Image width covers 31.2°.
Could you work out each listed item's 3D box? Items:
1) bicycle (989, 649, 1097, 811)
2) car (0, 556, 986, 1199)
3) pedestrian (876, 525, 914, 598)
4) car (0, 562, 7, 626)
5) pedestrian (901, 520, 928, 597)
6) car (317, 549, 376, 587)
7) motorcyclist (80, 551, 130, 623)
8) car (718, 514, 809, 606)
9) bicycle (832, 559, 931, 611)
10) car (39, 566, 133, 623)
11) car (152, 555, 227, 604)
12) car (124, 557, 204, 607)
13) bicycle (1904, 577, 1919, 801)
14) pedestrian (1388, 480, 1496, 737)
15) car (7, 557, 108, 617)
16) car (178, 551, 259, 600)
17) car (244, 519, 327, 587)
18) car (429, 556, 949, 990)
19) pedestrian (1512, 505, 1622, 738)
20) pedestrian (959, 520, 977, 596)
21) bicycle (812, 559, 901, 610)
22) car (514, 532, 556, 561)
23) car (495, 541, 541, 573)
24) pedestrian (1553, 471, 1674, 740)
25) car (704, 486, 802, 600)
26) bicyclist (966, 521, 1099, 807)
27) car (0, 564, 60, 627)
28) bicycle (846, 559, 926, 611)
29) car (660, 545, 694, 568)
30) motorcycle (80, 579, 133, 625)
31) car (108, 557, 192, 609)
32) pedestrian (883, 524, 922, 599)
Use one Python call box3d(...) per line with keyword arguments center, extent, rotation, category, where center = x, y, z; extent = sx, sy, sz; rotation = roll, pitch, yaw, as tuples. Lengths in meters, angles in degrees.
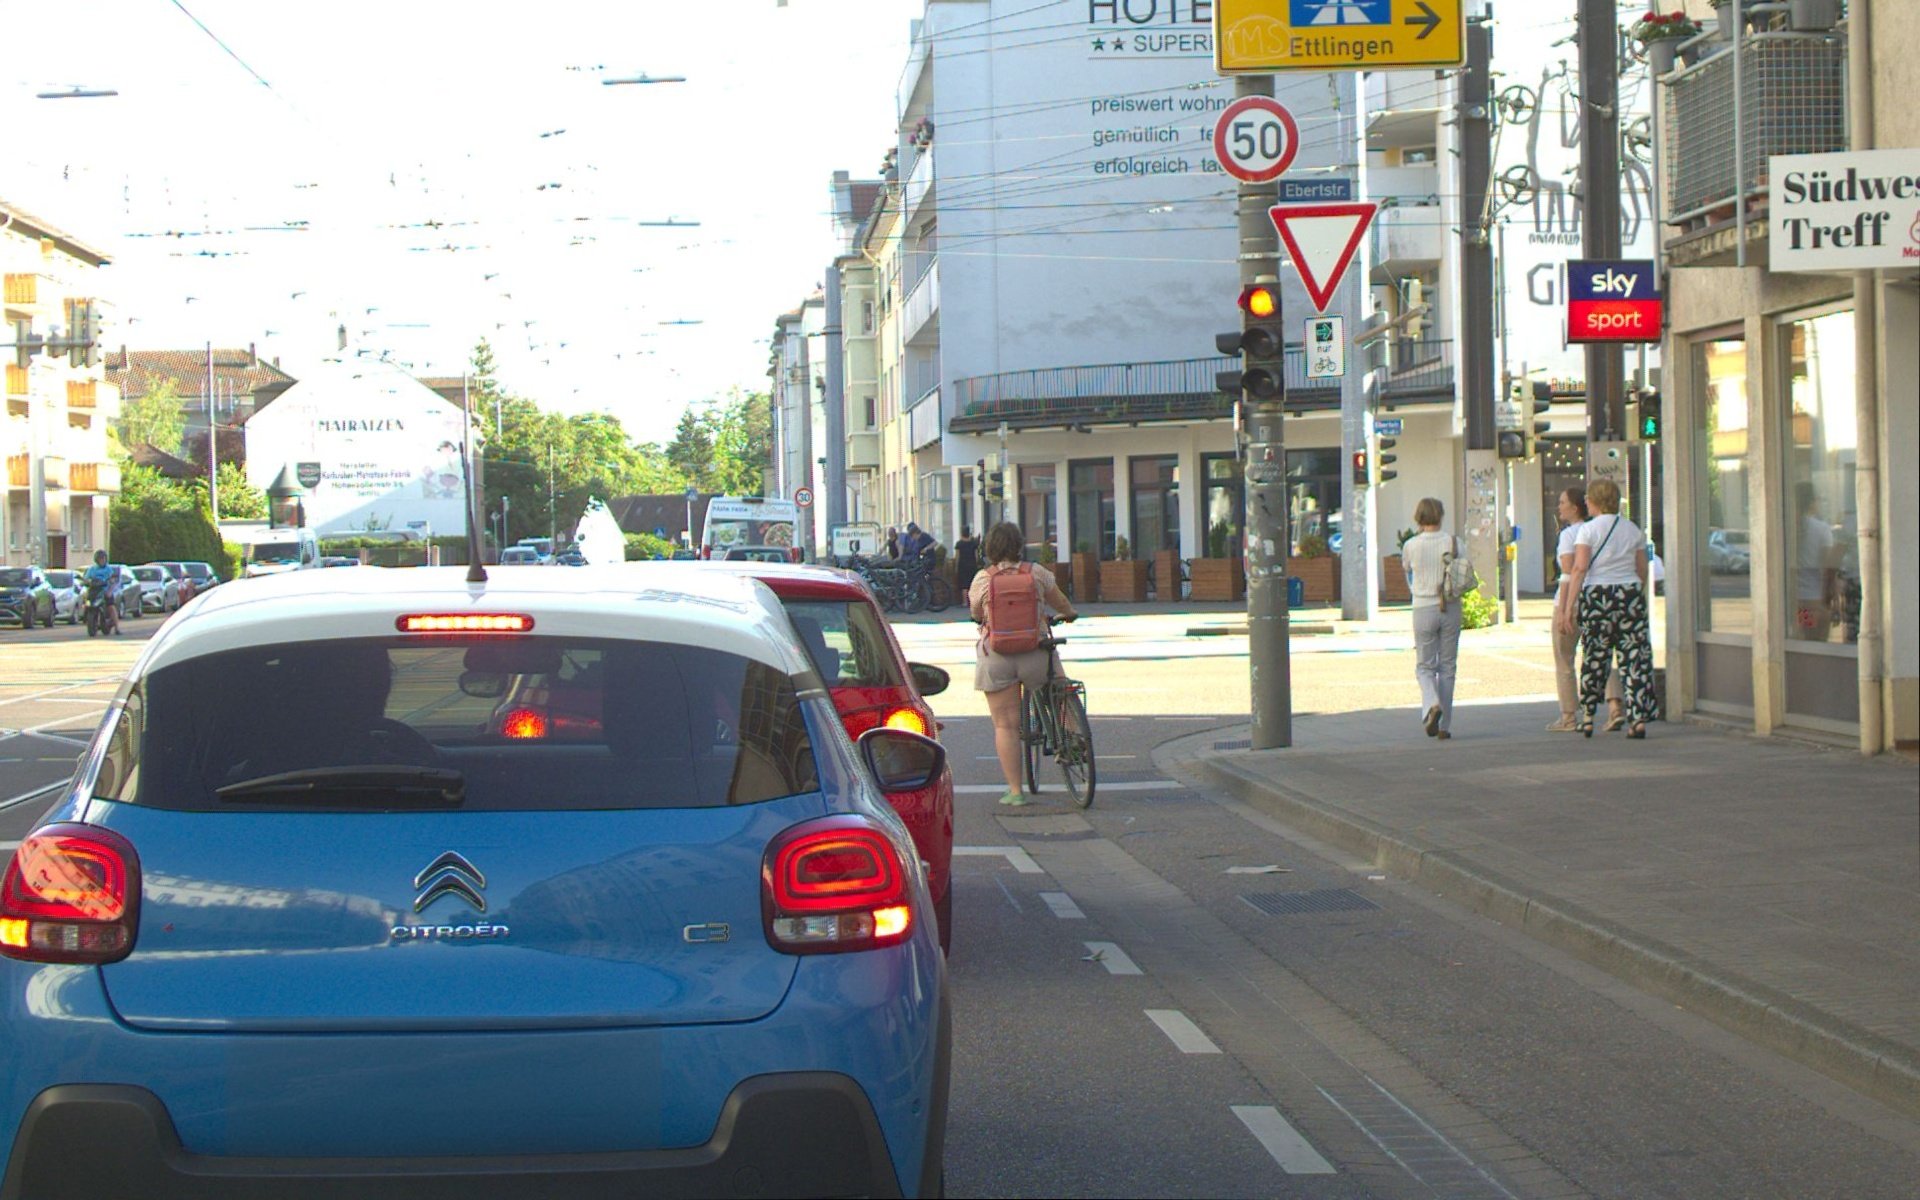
box3d(center=(0.483, 0.757, 20.608), extent=(0.498, 0.861, 1.749), rotation=(-1, 1, -3), category="bicycle")
box3d(center=(-1.053, 0.646, 7.432), extent=(1.743, 1.457, 4.001), rotation=(0, 1, -7), category="car")
box3d(center=(-1.412, -0.831, 74.311), extent=(0.646, 1.550, 0.493), rotation=(-2, 1, -22), category="pedestrian")
box3d(center=(-23.346, -0.094, 79.191), extent=(1.910, 1.492, 4.001), rotation=(-1, 1, -5), category="car")
box3d(center=(-0.920, -0.843, 69.665), extent=(0.491, 1.550, 0.384), rotation=(-1, 1, -3), category="pedestrian")
box3d(center=(-25.771, -1.348, 144.501), extent=(2.021, 1.520, 4.001), rotation=(-1, 1, -4), category="car")
box3d(center=(-16.687, -0.251, 67.134), extent=(0.719, 1.373, 0.911), rotation=(-1, 1, 0), category="motorcyclist")
box3d(center=(-3.870, -0.786, 67.532), extent=(1.732, 1.744, 3.214), rotation=(0, 1, -4), category="car")
box3d(center=(-1.520, -0.300, 67.064), extent=(1.874, 0.953, 0.702), rotation=(-1, 1, 1), category="bicycle")
box3d(center=(-24.798, -0.173, 97.686), extent=(1.910, 1.492, 4.001), rotation=(-1, 1, -5), category="car")
box3d(center=(-26.008, -0.709, 116.177), extent=(1.870, 1.568, 4.001), rotation=(-1, 1, -4), category="car")
box3d(center=(-25.701, -0.592, 111.085), extent=(1.910, 1.492, 4.001), rotation=(-1, 1, -5), category="car")
box3d(center=(4.907, 0.436, 15.761), extent=(0.530, 1.068, 1.811), rotation=(-1, 1, -4), category="bicycle")
box3d(center=(3.228, 0.047, 23.047), extent=(0.541, 1.666, 0.624), rotation=(-3, 3, -2), category="pedestrian")
box3d(center=(-24.140, -0.368, 92.110), extent=(1.910, 1.492, 4.001), rotation=(-1, 1, -5), category="car")
box3d(center=(-26.202, -0.872, 121.601), extent=(2.030, 1.614, 4.511), rotation=(-1, 1, -3), category="car")
box3d(center=(-23.379, -1.640, 119.314), extent=(2.206, 2.243, 4.678), rotation=(-1, 1, -4), category="car")
box3d(center=(-0.941, 0.562, 13.656), extent=(1.738, 1.415, 4.000), rotation=(-1, 1, -1), category="car")
box3d(center=(4.061, 0.134, 23.023), extent=(0.541, 1.502, 0.611), rotation=(-3, 3, -2), category="pedestrian")
box3d(center=(0.165, -0.858, 70.154), extent=(0.284, 1.550, 0.305), rotation=(-1, 1, -9), category="pedestrian")
box3d(center=(-2.061, -0.312, 68.423), extent=(1.720, 0.953, 0.702), rotation=(-1, 1, 1), category="bicycle")
box3d(center=(-23.158, -2.940, 187.442), extent=(2.021, 1.520, 4.001), rotation=(-1, 1, -4), category="car")
box3d(center=(-21.765, -2.115, 169.411), extent=(2.021, 1.520, 4.001), rotation=(-1, 1, -4), category="car")
box3d(center=(4.170, 0.029, 21.972), extent=(0.541, 1.666, 0.650), rotation=(-3, 1, -2), category="pedestrian")
box3d(center=(-4.362, -1.192, 72.442), extent=(1.993, 2.317, 4.001), rotation=(0, 1, -4), category="car")
box3d(center=(0.419, 0.362, 20.300), extent=(0.726, 1.640, 0.790), rotation=(-1, 1, -1), category="bicyclist")
box3d(center=(-23.873, -0.120, 85.974), extent=(1.910, 1.492, 4.001), rotation=(-1, 1, -5), category="car")
box3d(center=(-1.417, -0.286, 66.004), extent=(1.504, 0.953, 0.702), rotation=(-1, 1, 1), category="bicycle")
box3d(center=(-16.163, -2.478, 196.466), extent=(1.754, 1.255, 3.833), rotation=(-1, 1, -7), category="car")
box3d(center=(-16.693, 0.033, 67.294), extent=(0.615, 0.861, 1.671), rotation=(-1, 1, 0), category="motorcycle")
box3d(center=(-24.976, -0.534, 106.086), extent=(1.910, 1.492, 4.001), rotation=(-1, 1, -5), category="car")
box3d(center=(-1.209, -0.810, 72.507), extent=(0.646, 1.550, 0.493), rotation=(-2, 1, -22), category="pedestrian")
